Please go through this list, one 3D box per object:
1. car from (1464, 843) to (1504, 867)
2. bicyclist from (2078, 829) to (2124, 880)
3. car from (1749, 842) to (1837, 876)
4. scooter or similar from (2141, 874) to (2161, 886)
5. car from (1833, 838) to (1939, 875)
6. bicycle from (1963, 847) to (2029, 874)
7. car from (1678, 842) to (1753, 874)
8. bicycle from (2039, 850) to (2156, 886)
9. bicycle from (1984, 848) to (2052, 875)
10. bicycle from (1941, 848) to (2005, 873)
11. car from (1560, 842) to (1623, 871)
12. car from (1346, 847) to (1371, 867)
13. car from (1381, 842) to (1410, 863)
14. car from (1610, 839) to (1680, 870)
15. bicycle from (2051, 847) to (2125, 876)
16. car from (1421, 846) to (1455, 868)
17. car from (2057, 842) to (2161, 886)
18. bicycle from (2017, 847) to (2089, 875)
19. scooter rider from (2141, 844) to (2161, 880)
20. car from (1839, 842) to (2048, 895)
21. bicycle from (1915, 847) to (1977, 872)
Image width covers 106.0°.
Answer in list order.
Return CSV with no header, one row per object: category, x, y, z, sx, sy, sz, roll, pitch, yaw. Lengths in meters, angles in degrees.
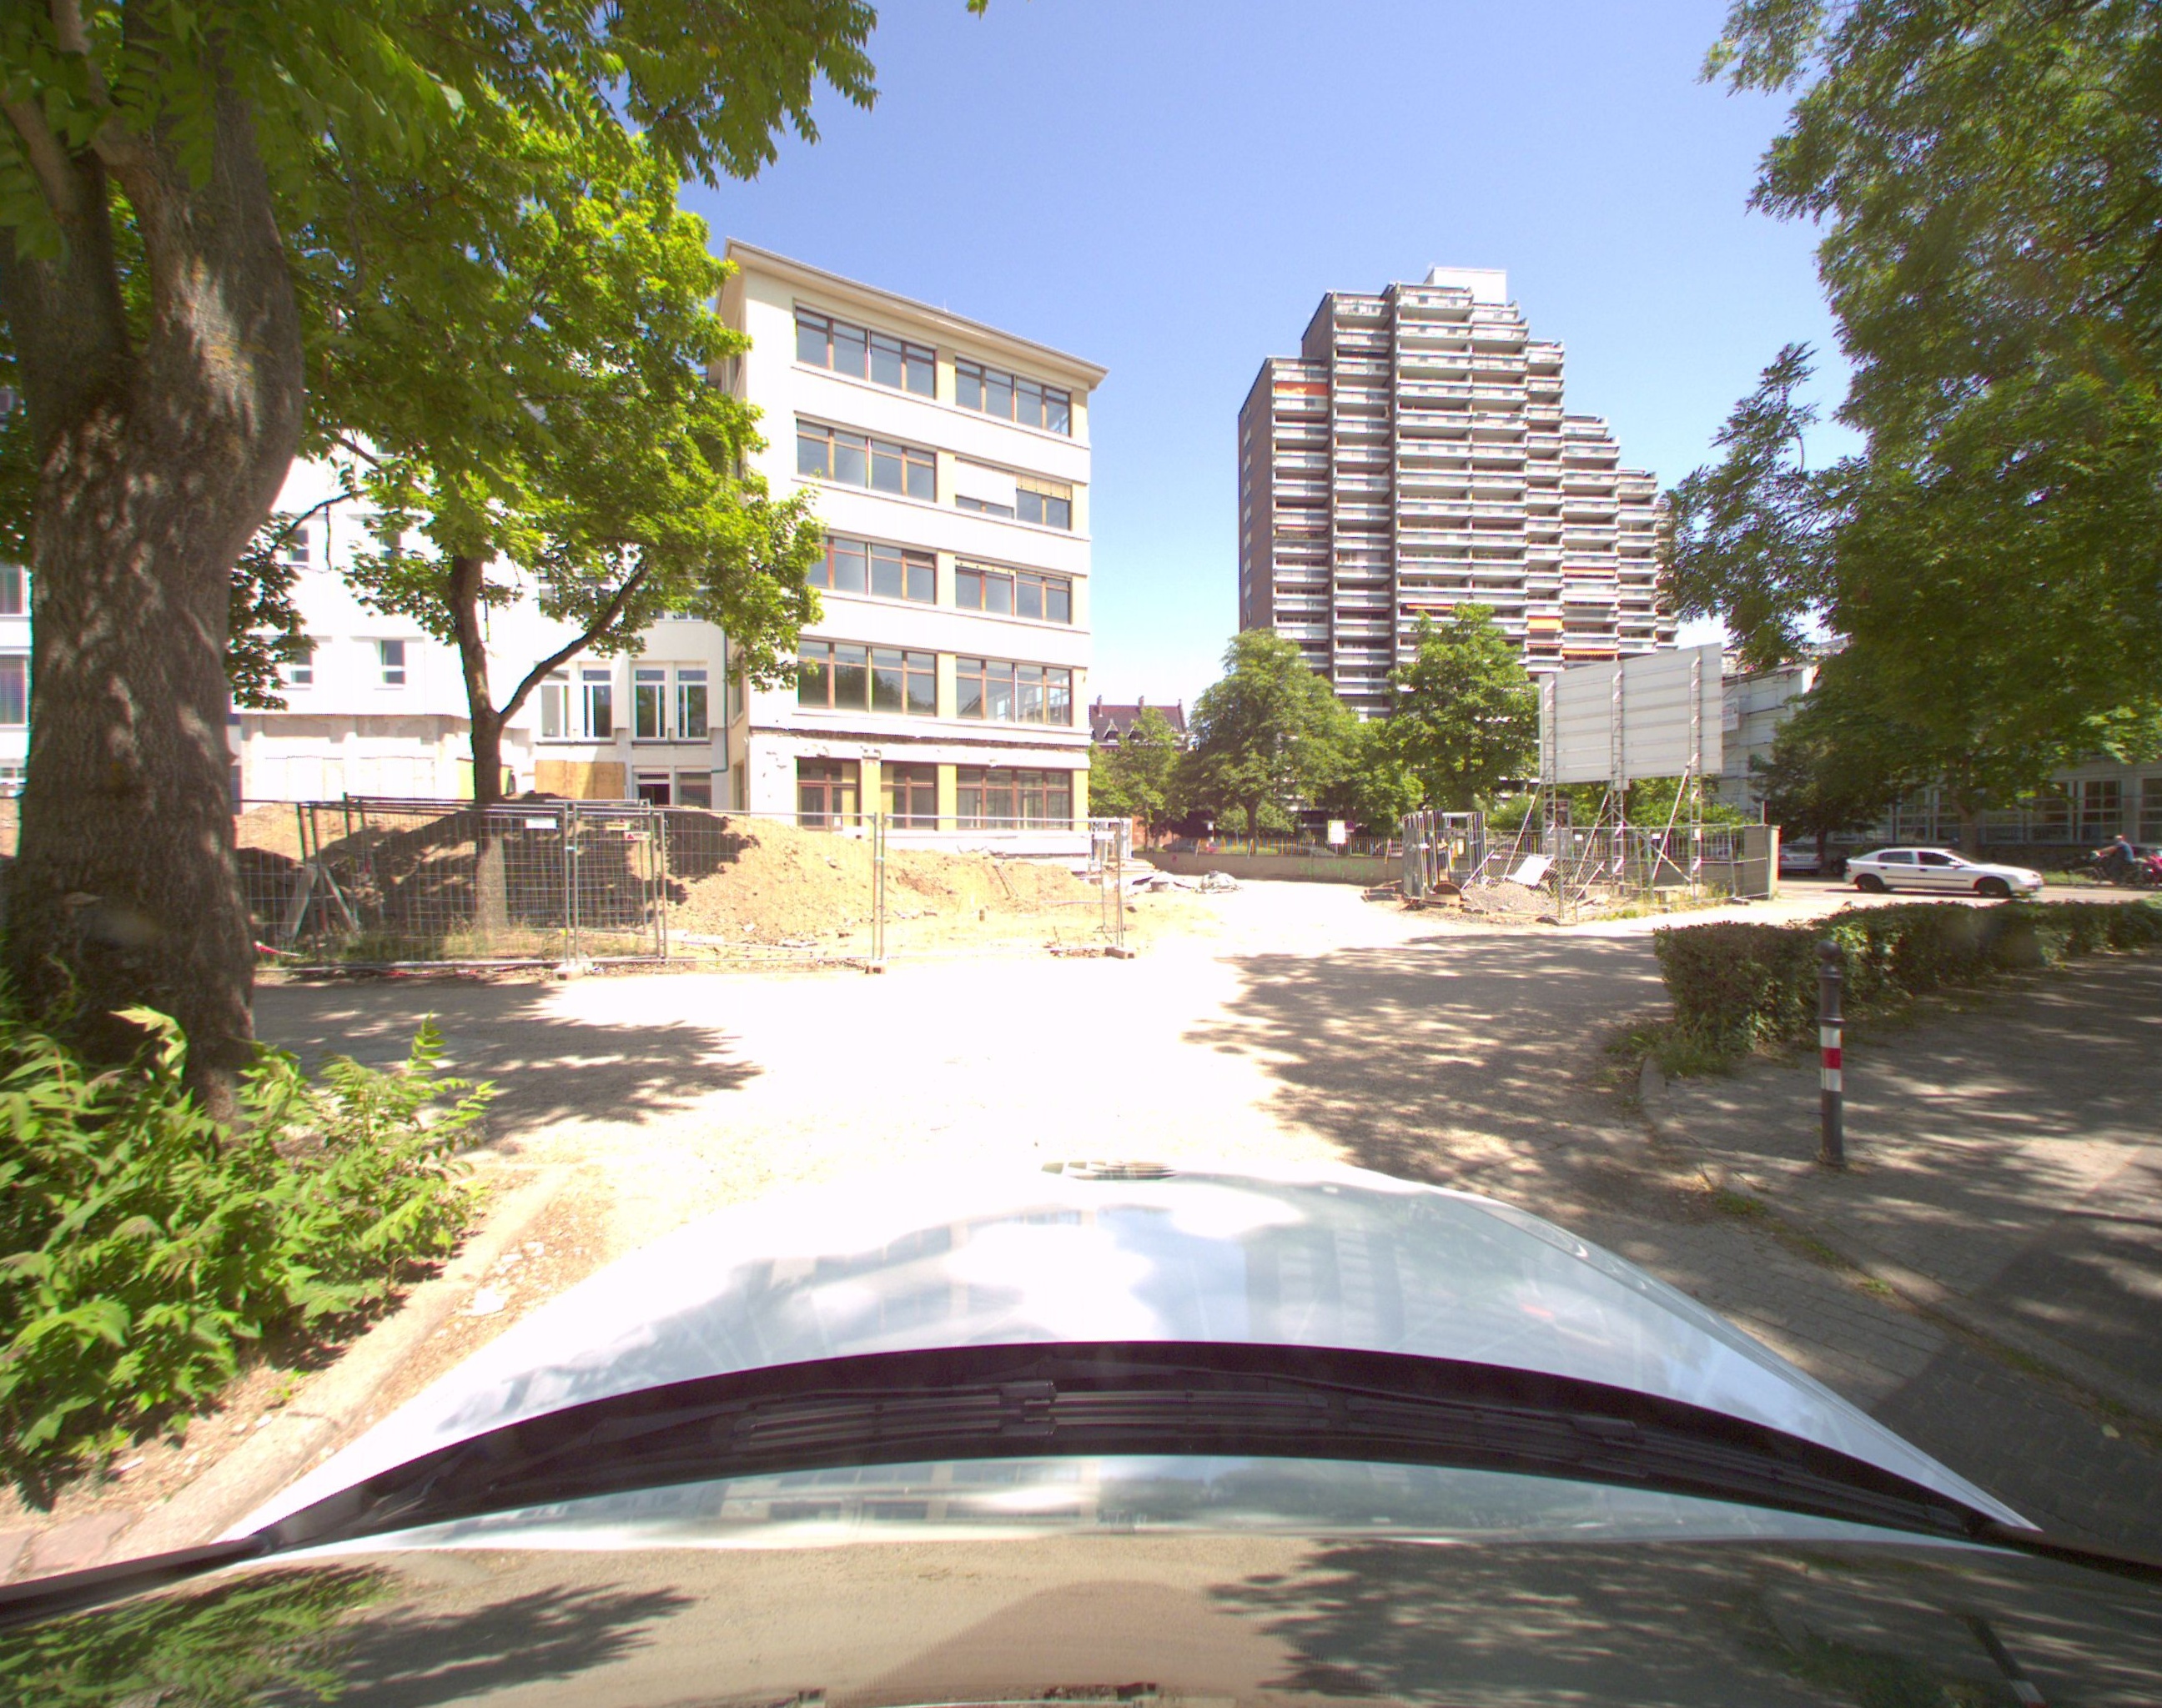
car,24.431,0.067,49.483,1.620,1.387,3.695,0,0,18
bicyclist,34.110,0.017,27.235,0.862,1.665,0.891,0,0,-34
car,32.119,0.192,36.841,1.620,1.463,3.694,0,0,17
scooter or similar,34.117,0.820,25.917,0.366,0.359,0.442,0,0,-34
car,33.688,0.096,34.210,1.620,1.463,3.694,0,0,17
bicycle,41.356,0.286,36.811,2.374,1.157,0.781,0,0,-7
car,30.386,0.164,39.100,1.620,1.463,3.694,0,0,17
bicycle,34.049,0.433,27.315,0.789,1.152,2.414,-1,1,-34
bicycle,41.286,0.301,35.894,2.374,1.157,0.781,0,0,-7
bicycle,41.236,0.290,37.653,2.374,1.157,0.781,0,0,-7
car,26.275,0.115,42.015,1.622,1.463,3.690,0,0,12
car,19.420,0.198,57.143,1.620,1.387,3.695,0,0,18
car,21.418,-0.126,55.516,1.620,1.387,3.695,0,0,18
car,28.408,0.010,41.110,1.622,1.463,3.690,0,0,12
bicycle,41.611,0.292,33.669,2.422,1.188,0.781,0,0,-7
car,22.974,0.169,52.528,1.620,1.387,3.695,0,0,18
car,37.094,0.325,28.648,1.628,1.463,3.690,0,0,12
bicycle,41.451,0.284,34.731,2.422,1.188,0.781,0,0,-7
scooter rider,34.113,0.253,25.928,0.360,1.134,0.413,0,0,-34
car,26.192,0.389,24.881,1.771,1.464,4.105,-1,1,-30
bicycle,41.115,0.273,38.733,2.374,1.157,0.781,0,0,-7
